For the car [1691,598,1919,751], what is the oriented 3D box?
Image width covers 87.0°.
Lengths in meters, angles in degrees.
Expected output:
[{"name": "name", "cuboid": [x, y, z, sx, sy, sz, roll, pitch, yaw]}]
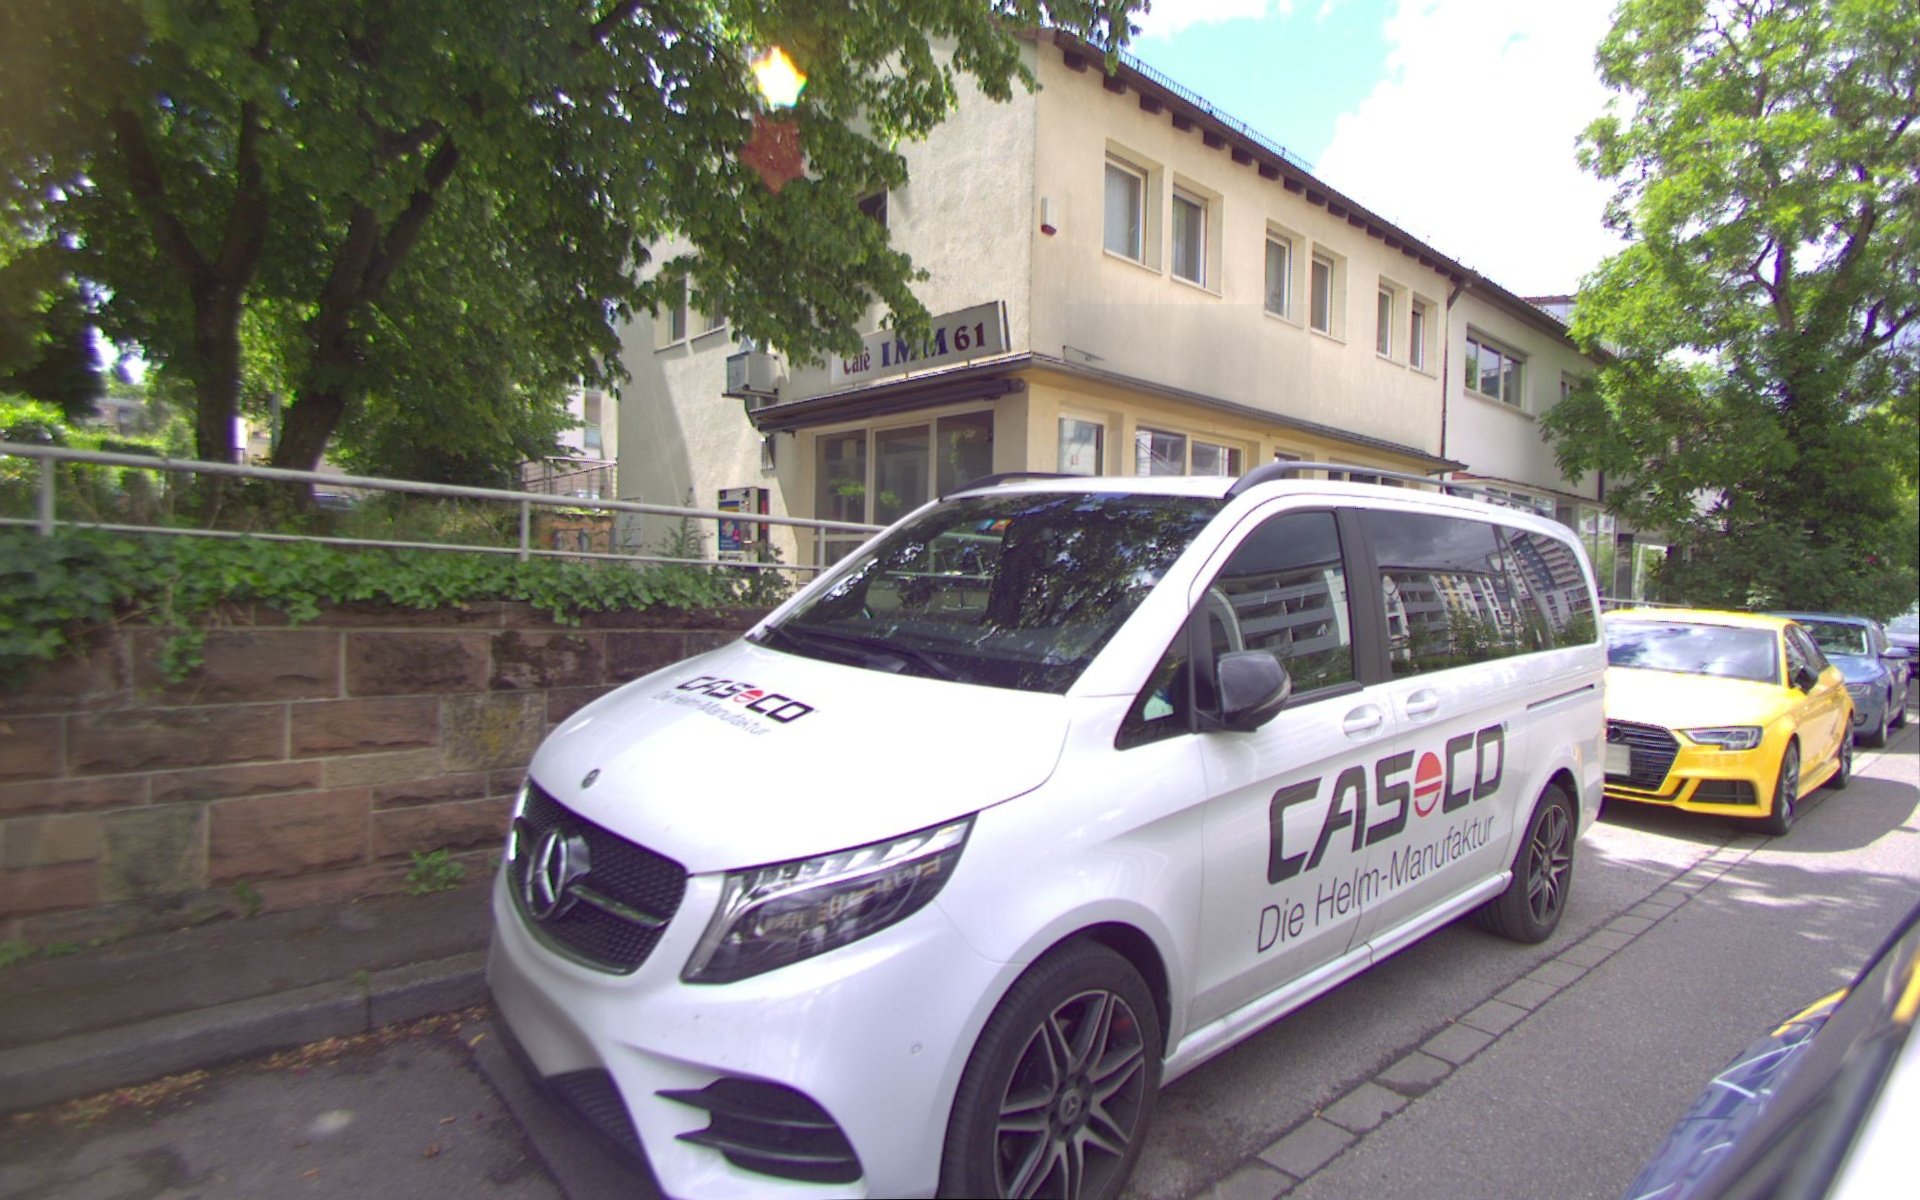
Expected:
[{"name": "car", "cuboid": [10.503, 0.761, 12.335, 4.418, 1.460, 1.757, 0, 2, -43]}]

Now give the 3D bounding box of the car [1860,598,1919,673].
[{"name": "car", "cuboid": [21.364, 0.765, 22.353, 4.171, 1.524, 1.837, 0, 2, -43]}]

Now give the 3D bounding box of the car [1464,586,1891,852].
[{"name": "car", "cuboid": [5.770, 0.691, 7.918, 4.265, 1.460, 1.759, 0, 3, -42]}]

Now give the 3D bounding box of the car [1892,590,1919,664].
[{"name": "car", "cuboid": [25.858, 0.711, 26.170, 4.987, 1.810, 2.019, 1, 2, -41]}]

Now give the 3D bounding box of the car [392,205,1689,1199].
[{"name": "car", "cuboid": [1.081, 0.374, 4.144, 5.646, 1.983, 1.917, 0, 2, -42]}]
